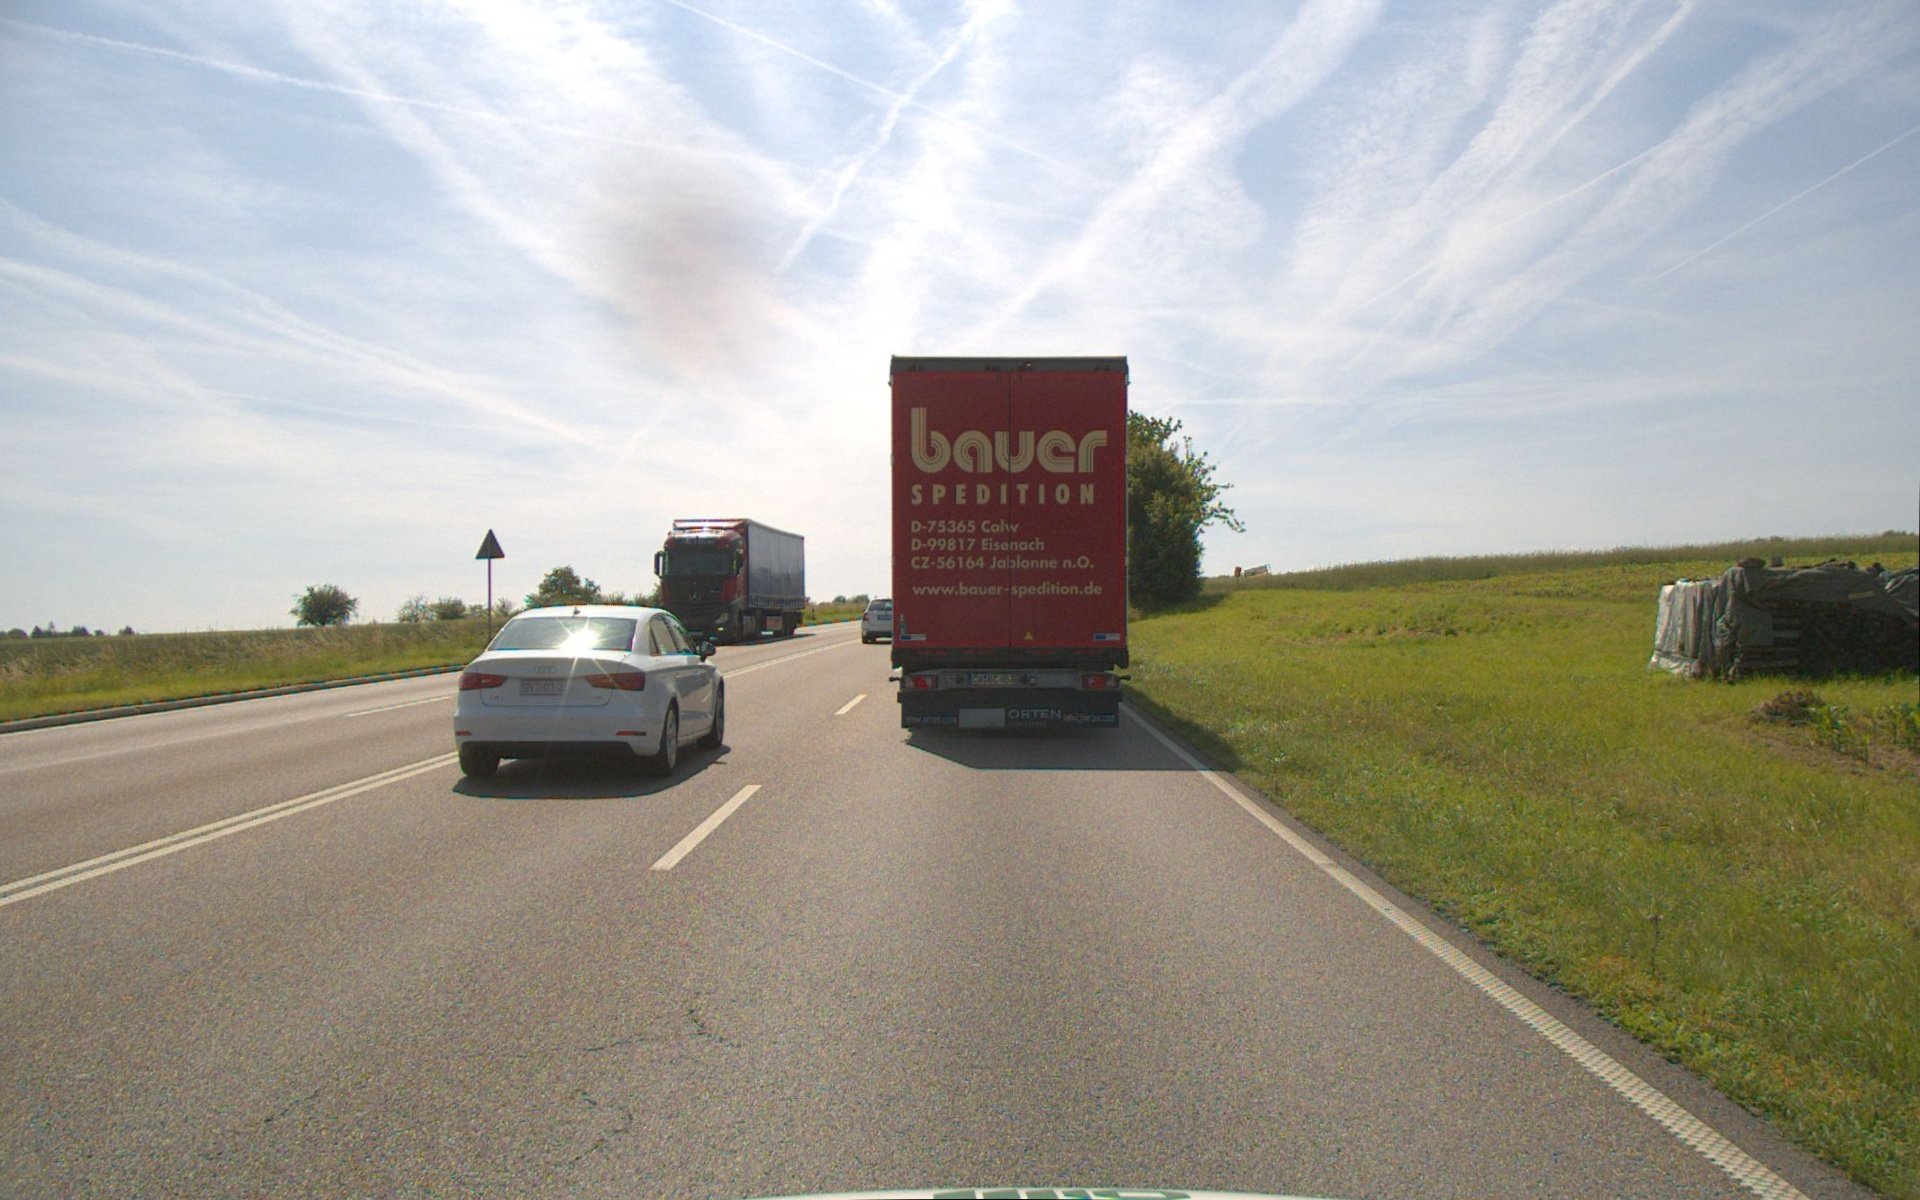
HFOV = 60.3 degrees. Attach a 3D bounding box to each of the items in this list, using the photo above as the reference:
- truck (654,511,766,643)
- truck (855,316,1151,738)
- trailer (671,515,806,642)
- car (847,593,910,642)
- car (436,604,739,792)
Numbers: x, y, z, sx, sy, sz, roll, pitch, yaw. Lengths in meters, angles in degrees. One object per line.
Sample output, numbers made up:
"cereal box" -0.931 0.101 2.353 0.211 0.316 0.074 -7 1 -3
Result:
"truck" -8.369 -0.741 56.095 2.562 4.173 6.090 -1 0 2
"truck" 0.466 -0.727 25.229 2.945 4.253 16.713 1 0 0
"trailer" -8.077 -0.745 62.282 2.492 4.173 13.588 -1 0 3
"car" -2.633 0.551 54.330 1.783 1.498 4.789 1 0 0
"car" -3.158 0.756 14.965 1.668 1.400 4.603 0 0 0
